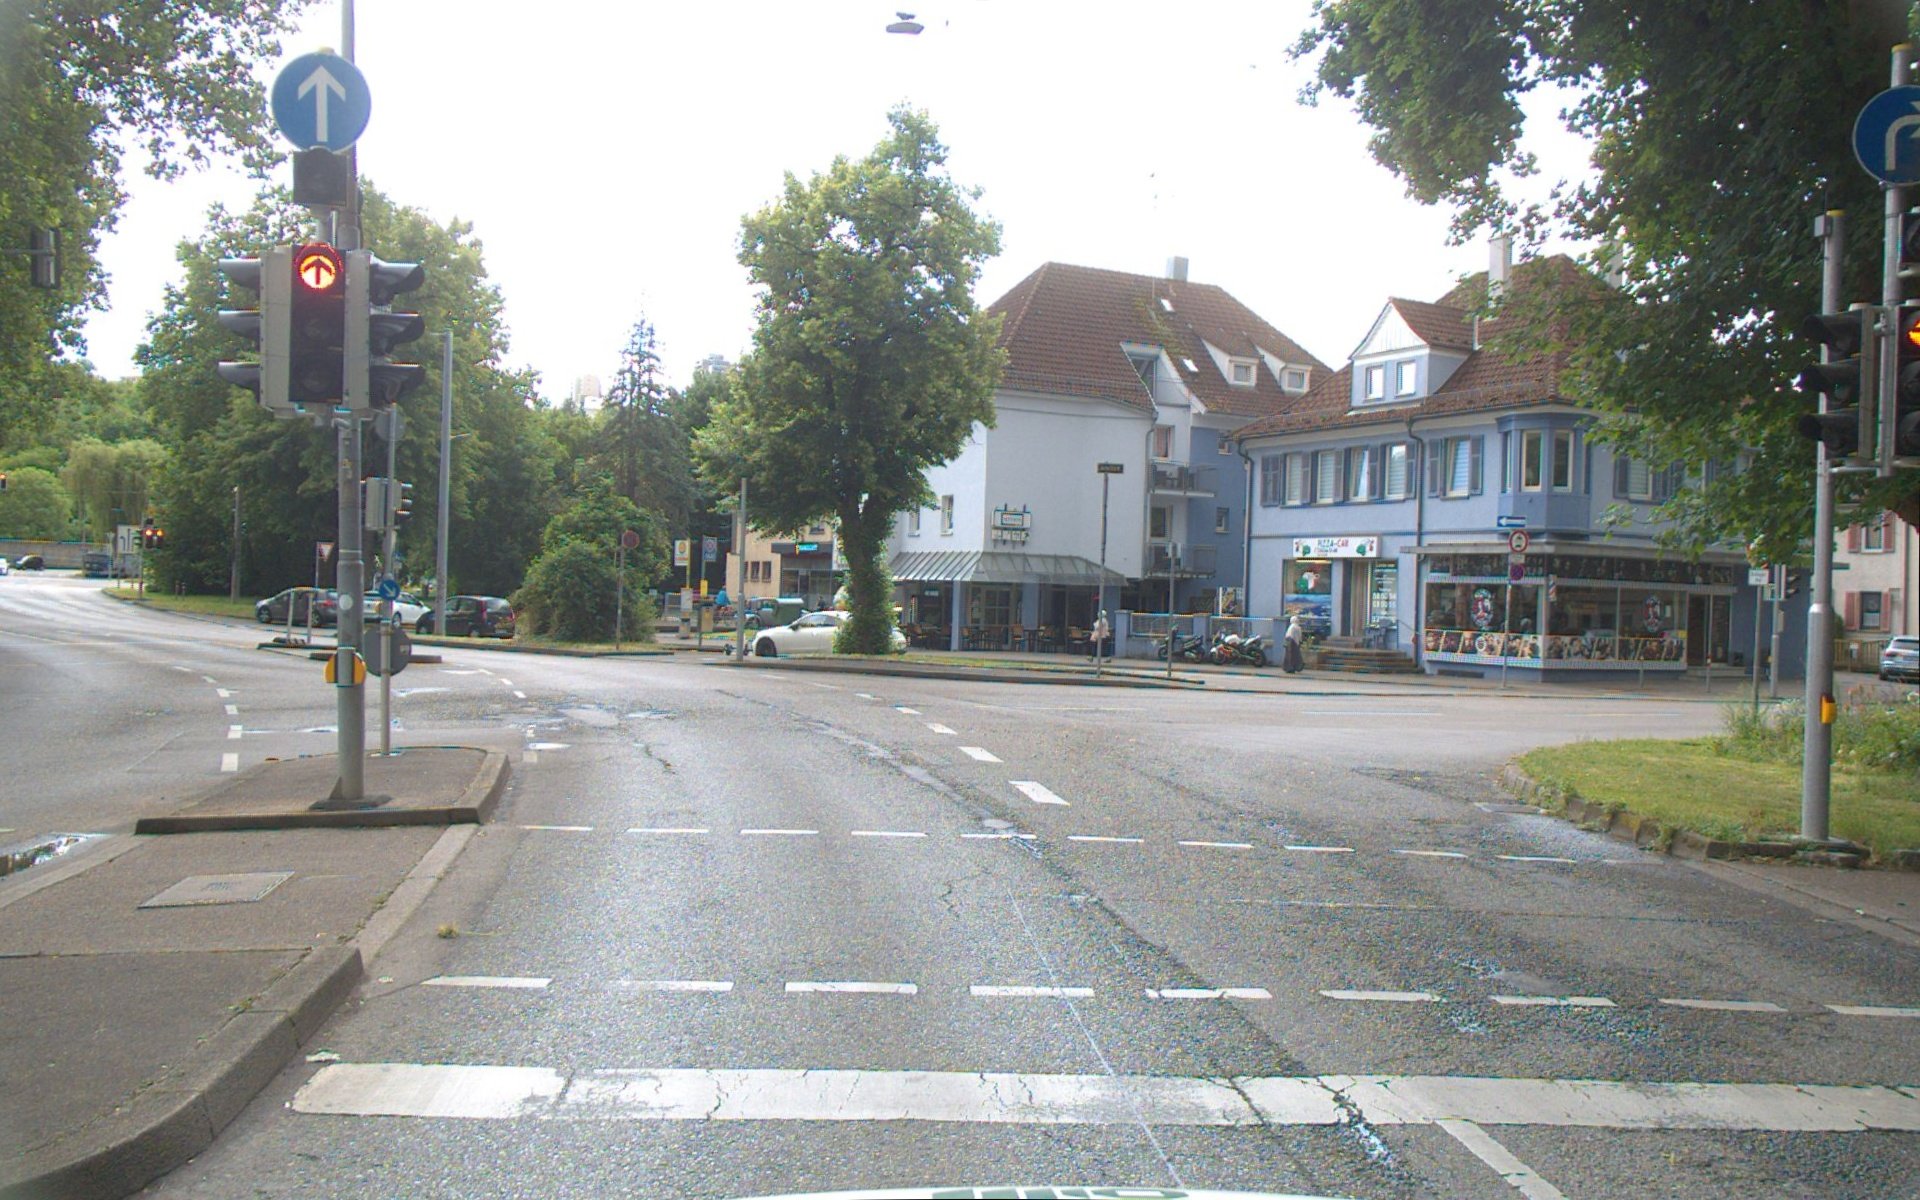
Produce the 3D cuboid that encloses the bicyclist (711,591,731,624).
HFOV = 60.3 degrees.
[{"bbox_3d":[-11.590,0.370,80.320,0.587,1.568,0.737,1,0,33],"label":"bicyclist"}]

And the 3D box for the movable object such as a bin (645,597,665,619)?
[{"bbox_3d":[-15.852,0.401,85.920,0.937,1.135,0.381,1,0,-22],"label":"movable object such as a bin"}]

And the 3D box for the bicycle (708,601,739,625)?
[{"bbox_3d":[-11.513,0.634,80.426,0.591,1.131,1.576,1,0,33],"label":"bicycle"}]

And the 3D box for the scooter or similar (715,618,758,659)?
[{"bbox_3d":[-5.732,0.984,42.547,0.408,1.029,1.567,1,0,20],"label":"scooter or similar"}]

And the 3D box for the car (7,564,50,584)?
[{"bbox_3d":[-102.211,-2.811,181.501,3.948,2.049,1.978,1,0,-32],"label":"car"}]

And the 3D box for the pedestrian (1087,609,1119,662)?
[{"bbox_3d":[4.326,1.071,49.995,0.694,1.572,0.675,1,0,39],"label":"pedestrian"}]

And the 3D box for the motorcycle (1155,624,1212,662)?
[{"bbox_3d":[6.791,1.295,50.242,1.609,1.082,0.690,1,0,44],"label":"motorcycle"}]

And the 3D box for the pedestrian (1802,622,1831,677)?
[{"bbox_3d":[24.318,1.402,46.963,0.451,1.544,0.584,1,-1,-21],"label":"pedestrian"}]

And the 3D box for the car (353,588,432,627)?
[{"bbox_3d":[-22.669,0.311,66.190,1.512,1.490,3.398,1,0,10],"label":"car"}]

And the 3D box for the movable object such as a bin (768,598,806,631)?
[{"bbox_3d":[-7.718,0.662,73.847,1.424,1.433,0.959,1,0,-27],"label":"movable object such as a bin"}]

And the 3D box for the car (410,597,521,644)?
[{"bbox_3d":[-16.008,0.663,53.468,3.519,1.418,1.468,1,0,32],"label":"car"}]

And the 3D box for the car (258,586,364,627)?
[{"bbox_3d":[-24.860,0.249,63.400,3.469,1.490,1.586,1,0,12],"label":"car"}]

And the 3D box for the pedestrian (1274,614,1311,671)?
[{"bbox_3d":[9.254,1.178,45.999,0.754,1.572,0.675,1,-1,38],"label":"pedestrian"}]

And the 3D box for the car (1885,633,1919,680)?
[{"bbox_3d":[29.851,1.739,51.417,1.471,1.393,3.164,1,0,38],"label":"car"}]

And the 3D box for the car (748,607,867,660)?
[{"bbox_3d":[-4.246,0.919,45.964,3.110,1.378,1.435,1,0,34],"label":"car"}]

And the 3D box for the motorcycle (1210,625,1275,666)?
[{"bbox_3d":[8.272,1.312,48.485,1.765,1.141,0.692,1,0,38],"label":"motorcycle"}]

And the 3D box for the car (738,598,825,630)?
[{"bbox_3d":[-8.158,0.646,75.738,3.690,1.368,1.421,1,0,-27],"label":"car"}]
